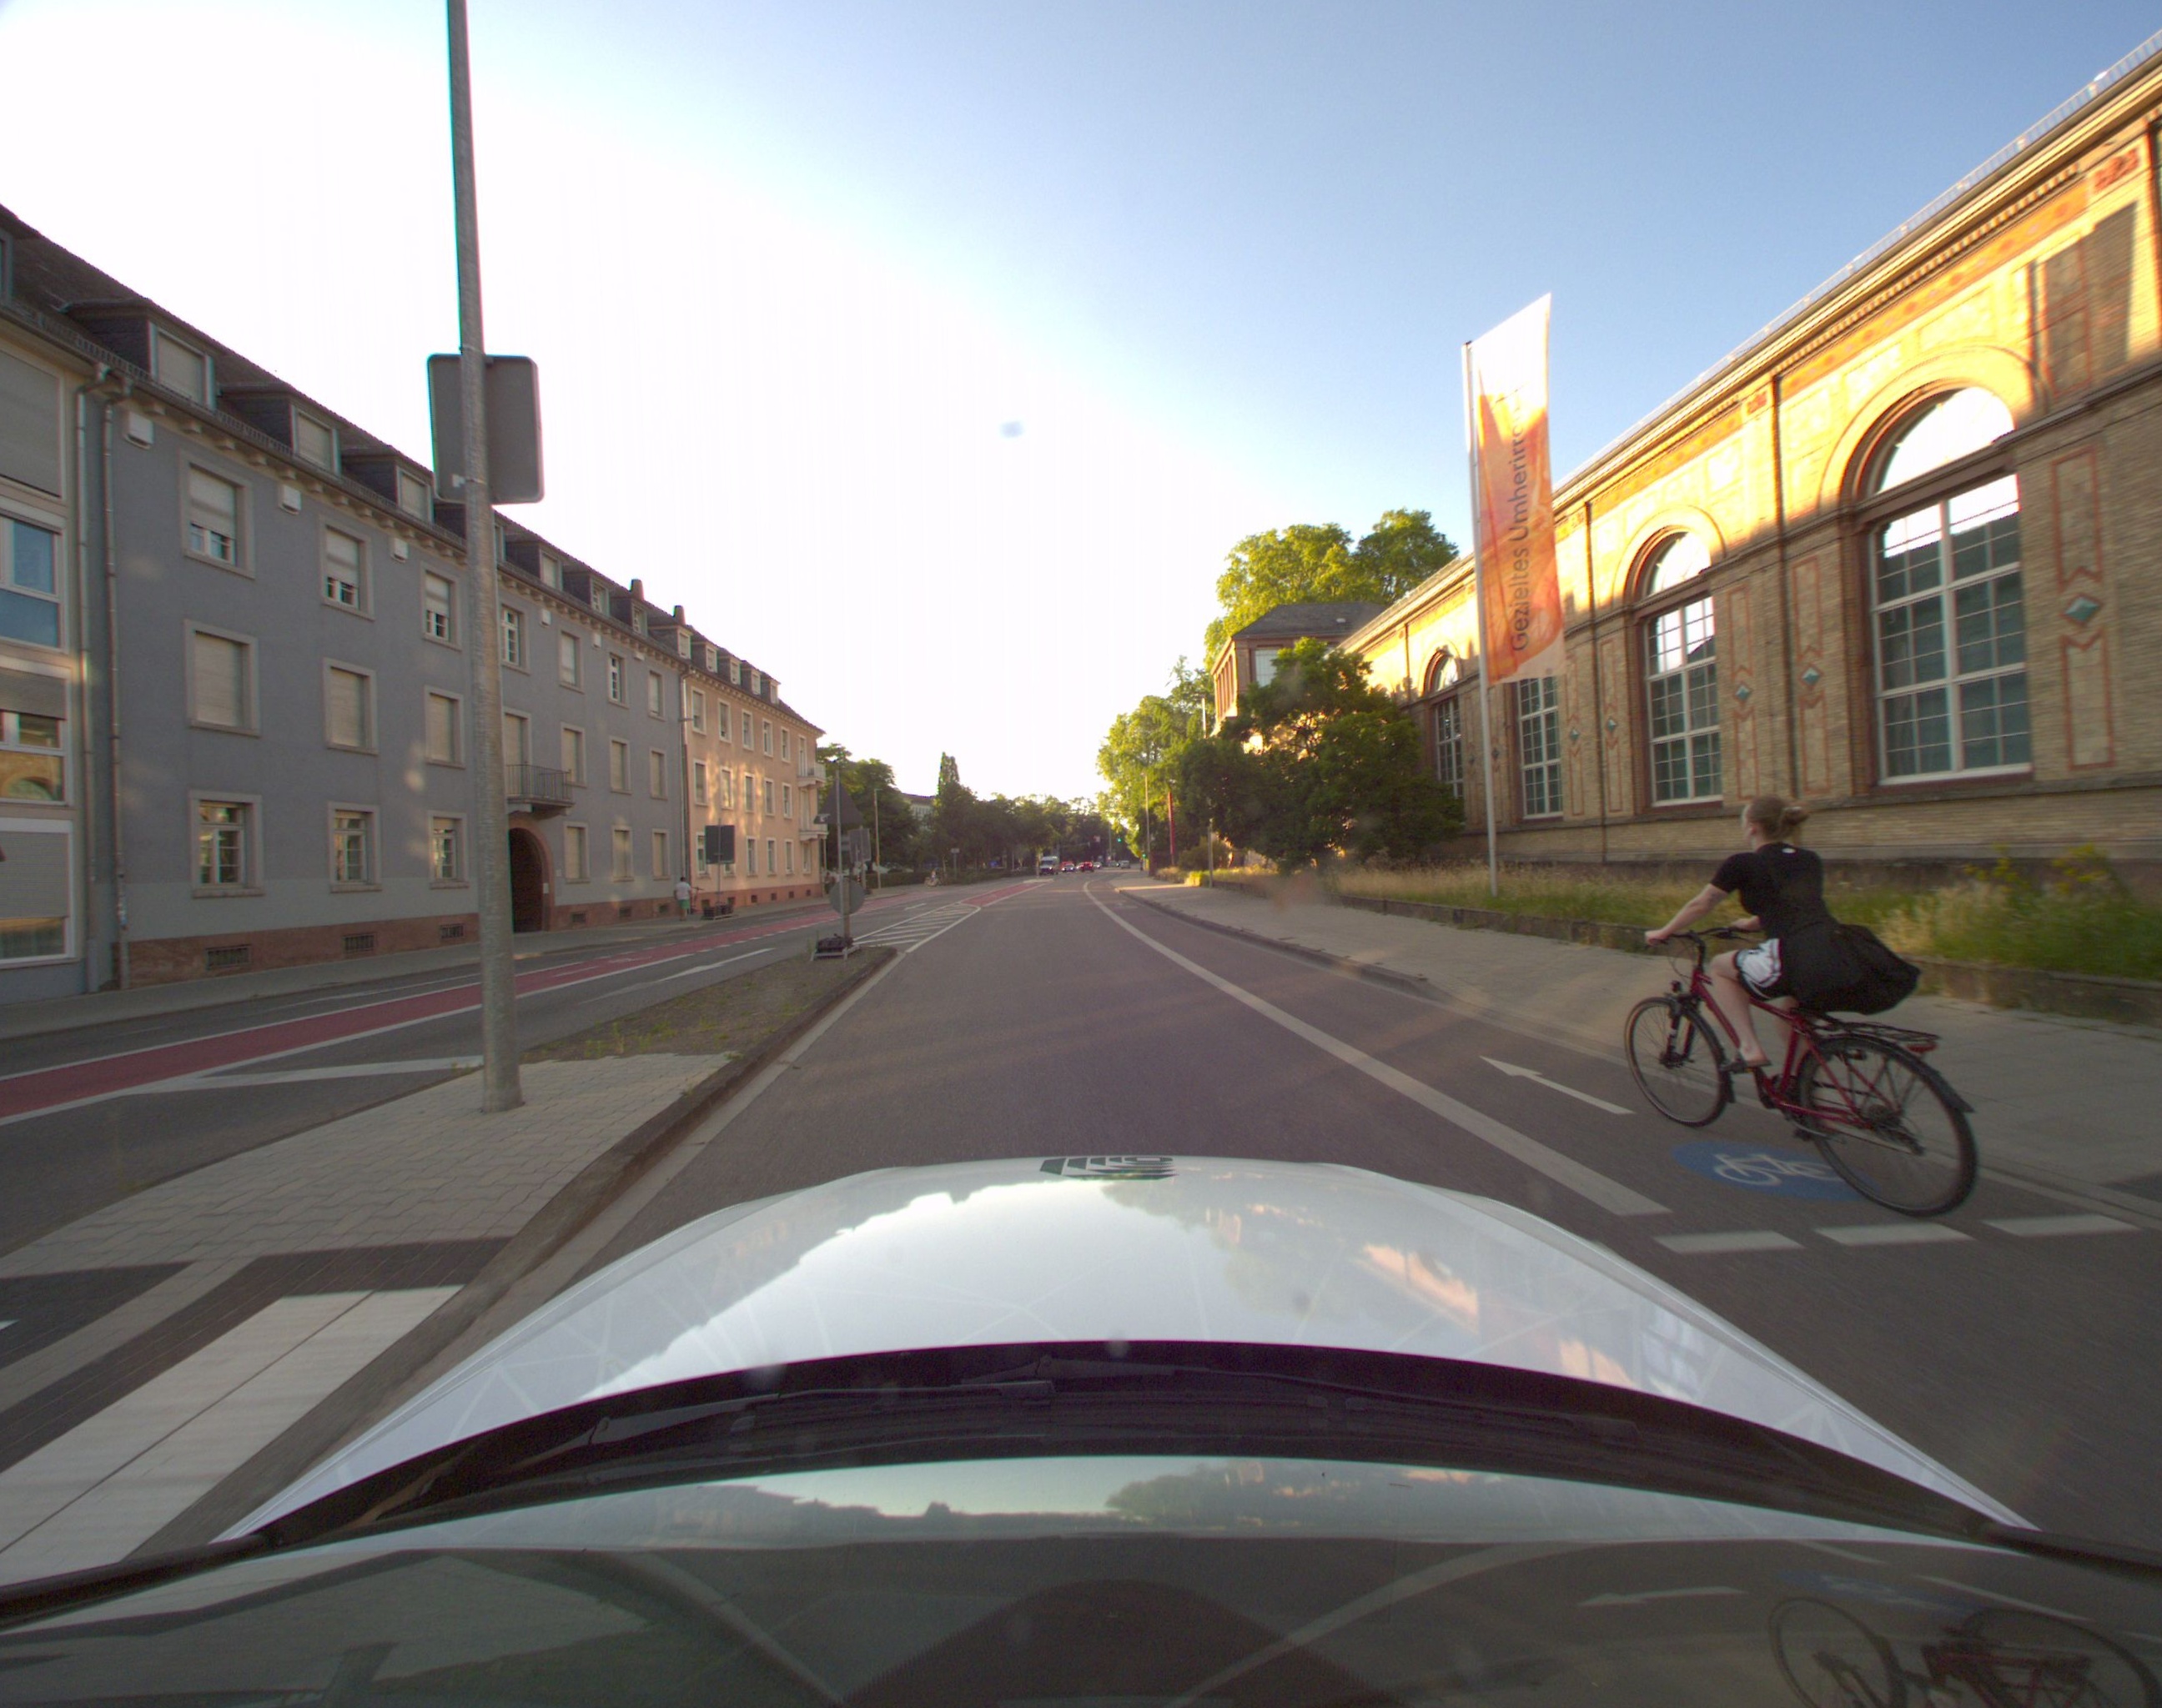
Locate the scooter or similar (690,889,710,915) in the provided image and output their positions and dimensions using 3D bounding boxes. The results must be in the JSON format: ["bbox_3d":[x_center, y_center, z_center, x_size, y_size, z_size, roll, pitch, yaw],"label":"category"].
[{"bbox_3d":[-17.035,2.134,36.406,0.394,1.128,0.862,-3,-1,4],"label":"scooter or similar"}]

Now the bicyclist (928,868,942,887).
[{"bbox_3d":[-12.575,2.002,70.063,0.877,1.596,0.745,-2,-1,-40],"label":"bicyclist"}]

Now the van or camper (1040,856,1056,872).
[{"bbox_3d":[-4.605,1.368,113.563,1.823,2.194,4.421,-3,0,0],"label":"van or camper"}]

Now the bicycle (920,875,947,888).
[{"bbox_3d":[-12.673,2.346,69.963,2.206,0.929,0.764,-3,-1,-39],"label":"bicycle"}]

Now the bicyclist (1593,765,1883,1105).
[{"bbox_3d":[3.224,0.360,4.085,0.715,1.502,0.849,-1,-1,-5],"label":"bicyclist"}]

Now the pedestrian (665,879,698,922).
[{"bbox_3d":[-15.949,1.840,32.517,0.872,1.653,0.810,-3,-4,0],"label":"pedestrian"}]

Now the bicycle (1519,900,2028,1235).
[{"bbox_3d":[3.221,0.868,4.155,0.710,1.156,2.065,-1,-1,-4],"label":"bicycle"}]

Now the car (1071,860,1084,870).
[{"bbox_3d":[-0.591,1.941,147.196,1.984,1.720,4.006,-3,0,5],"label":"car"}]

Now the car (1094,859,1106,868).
[{"bbox_3d":[3.843,1.853,166.399,1.983,1.720,4.007,-3,0,6],"label":"car"}]

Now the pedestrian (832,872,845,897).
[{"bbox_3d":[-16.118,2.034,54.198,0.614,1.574,0.722,-3,-1,-7],"label":"pedestrian"}]

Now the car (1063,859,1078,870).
[{"bbox_3d":[-1.712,1.665,134.178,1.985,1.720,4.004,-3,0,4],"label":"car"}]

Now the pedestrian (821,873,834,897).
[{"bbox_3d":[-16.826,2.075,54.125,0.614,1.534,0.689,-3,-1,-7],"label":"pedestrian"}]

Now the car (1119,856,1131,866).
[{"bbox_3d":[8.492,1.356,156.306,1.984,1.720,4.006,-3,0,5],"label":"car"}]

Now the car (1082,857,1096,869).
[{"bbox_3d":[1.260,1.455,129.332,1.986,1.720,4.002,-3,0,2],"label":"car"}]
